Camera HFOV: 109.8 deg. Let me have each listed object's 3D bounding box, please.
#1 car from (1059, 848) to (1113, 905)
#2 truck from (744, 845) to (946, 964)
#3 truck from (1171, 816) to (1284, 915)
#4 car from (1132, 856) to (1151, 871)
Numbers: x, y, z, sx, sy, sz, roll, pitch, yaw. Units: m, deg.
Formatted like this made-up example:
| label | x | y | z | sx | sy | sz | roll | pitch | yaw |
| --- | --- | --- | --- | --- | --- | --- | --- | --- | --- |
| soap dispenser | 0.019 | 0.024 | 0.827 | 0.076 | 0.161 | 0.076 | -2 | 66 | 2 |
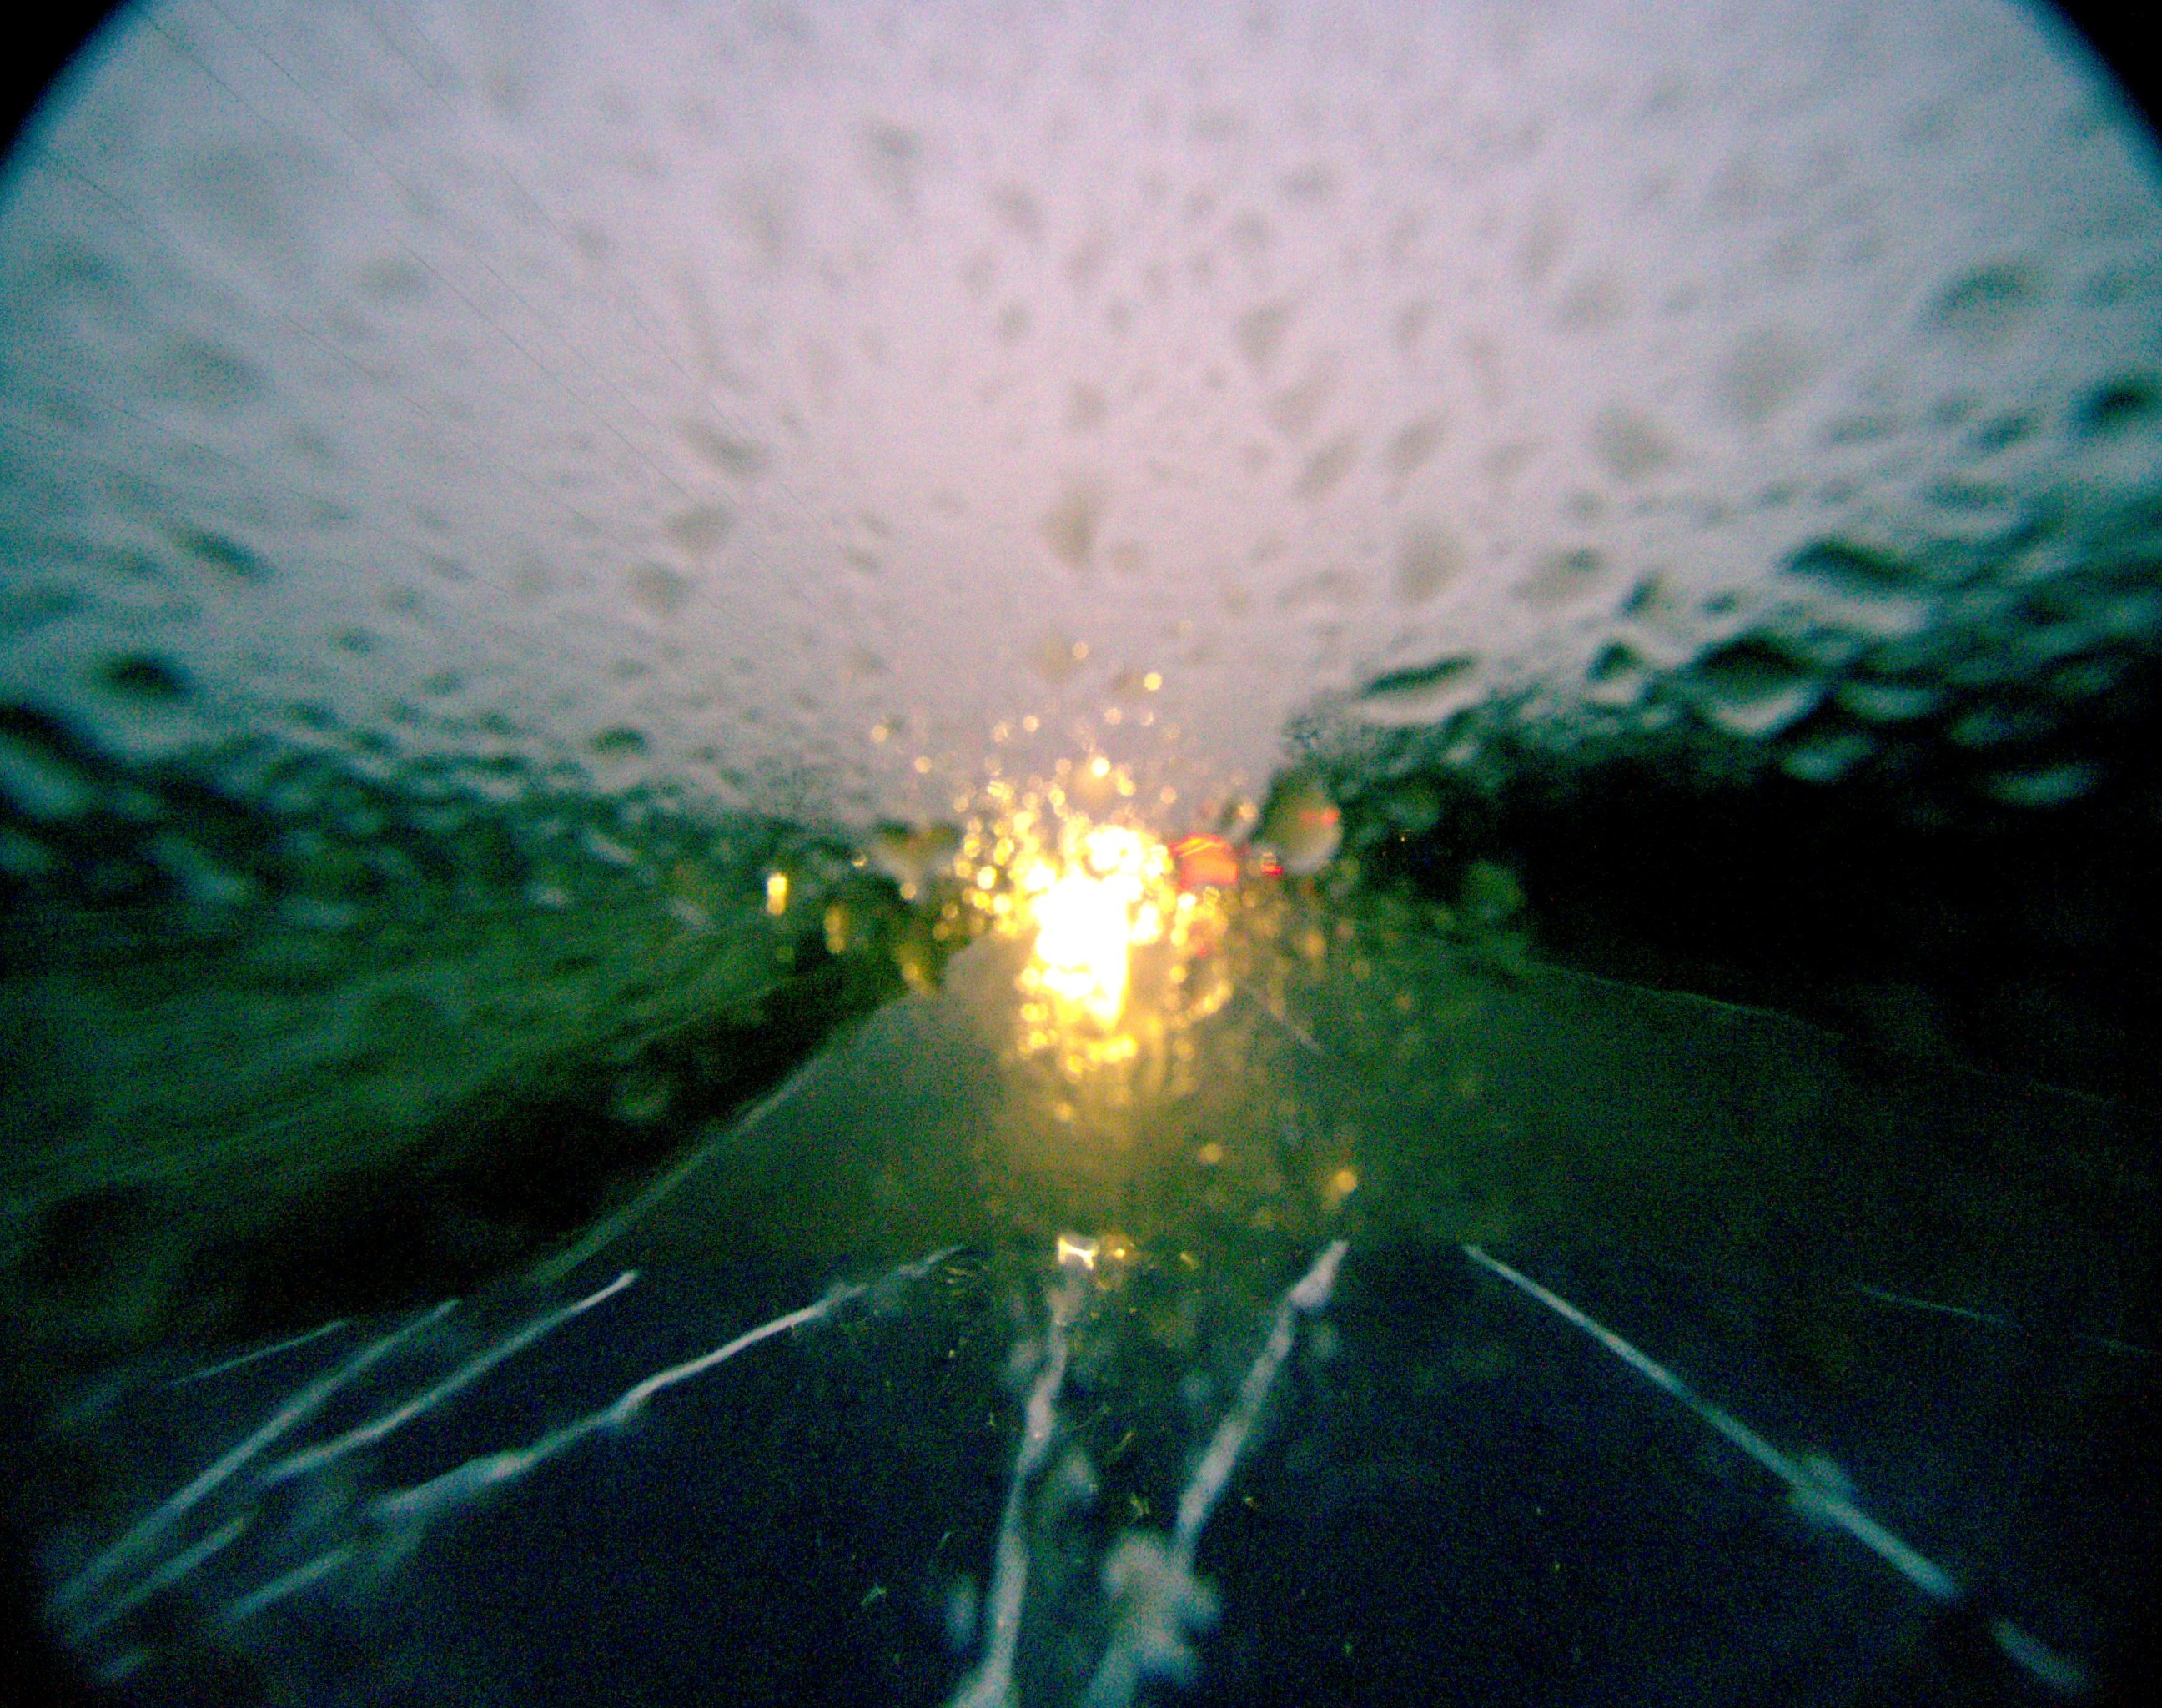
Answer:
| label | x | y | z | sx | sy | sz | roll | pitch | yaw |
| --- | --- | --- | --- | --- | --- | --- | --- | --- | --- |
| car | 0.242 | 0.818 | 29.495 | 1.857 | 2.002 | 4.000 | -2 | 0 | 2 |
| truck | -6.206 | 1.101 | 22.311 | 2.510 | 2.556 | 10.804 | -2 | 0 | 0 |
| truck | 4.076 | 0.278 | 22.213 | 2.244 | 2.453 | 5.373 | -2 | 0 | 1 |
| car | 6.438 | 0.951 | 81.002 | 1.692 | 1.498 | 4.413 | -2 | 0 | 2 |
